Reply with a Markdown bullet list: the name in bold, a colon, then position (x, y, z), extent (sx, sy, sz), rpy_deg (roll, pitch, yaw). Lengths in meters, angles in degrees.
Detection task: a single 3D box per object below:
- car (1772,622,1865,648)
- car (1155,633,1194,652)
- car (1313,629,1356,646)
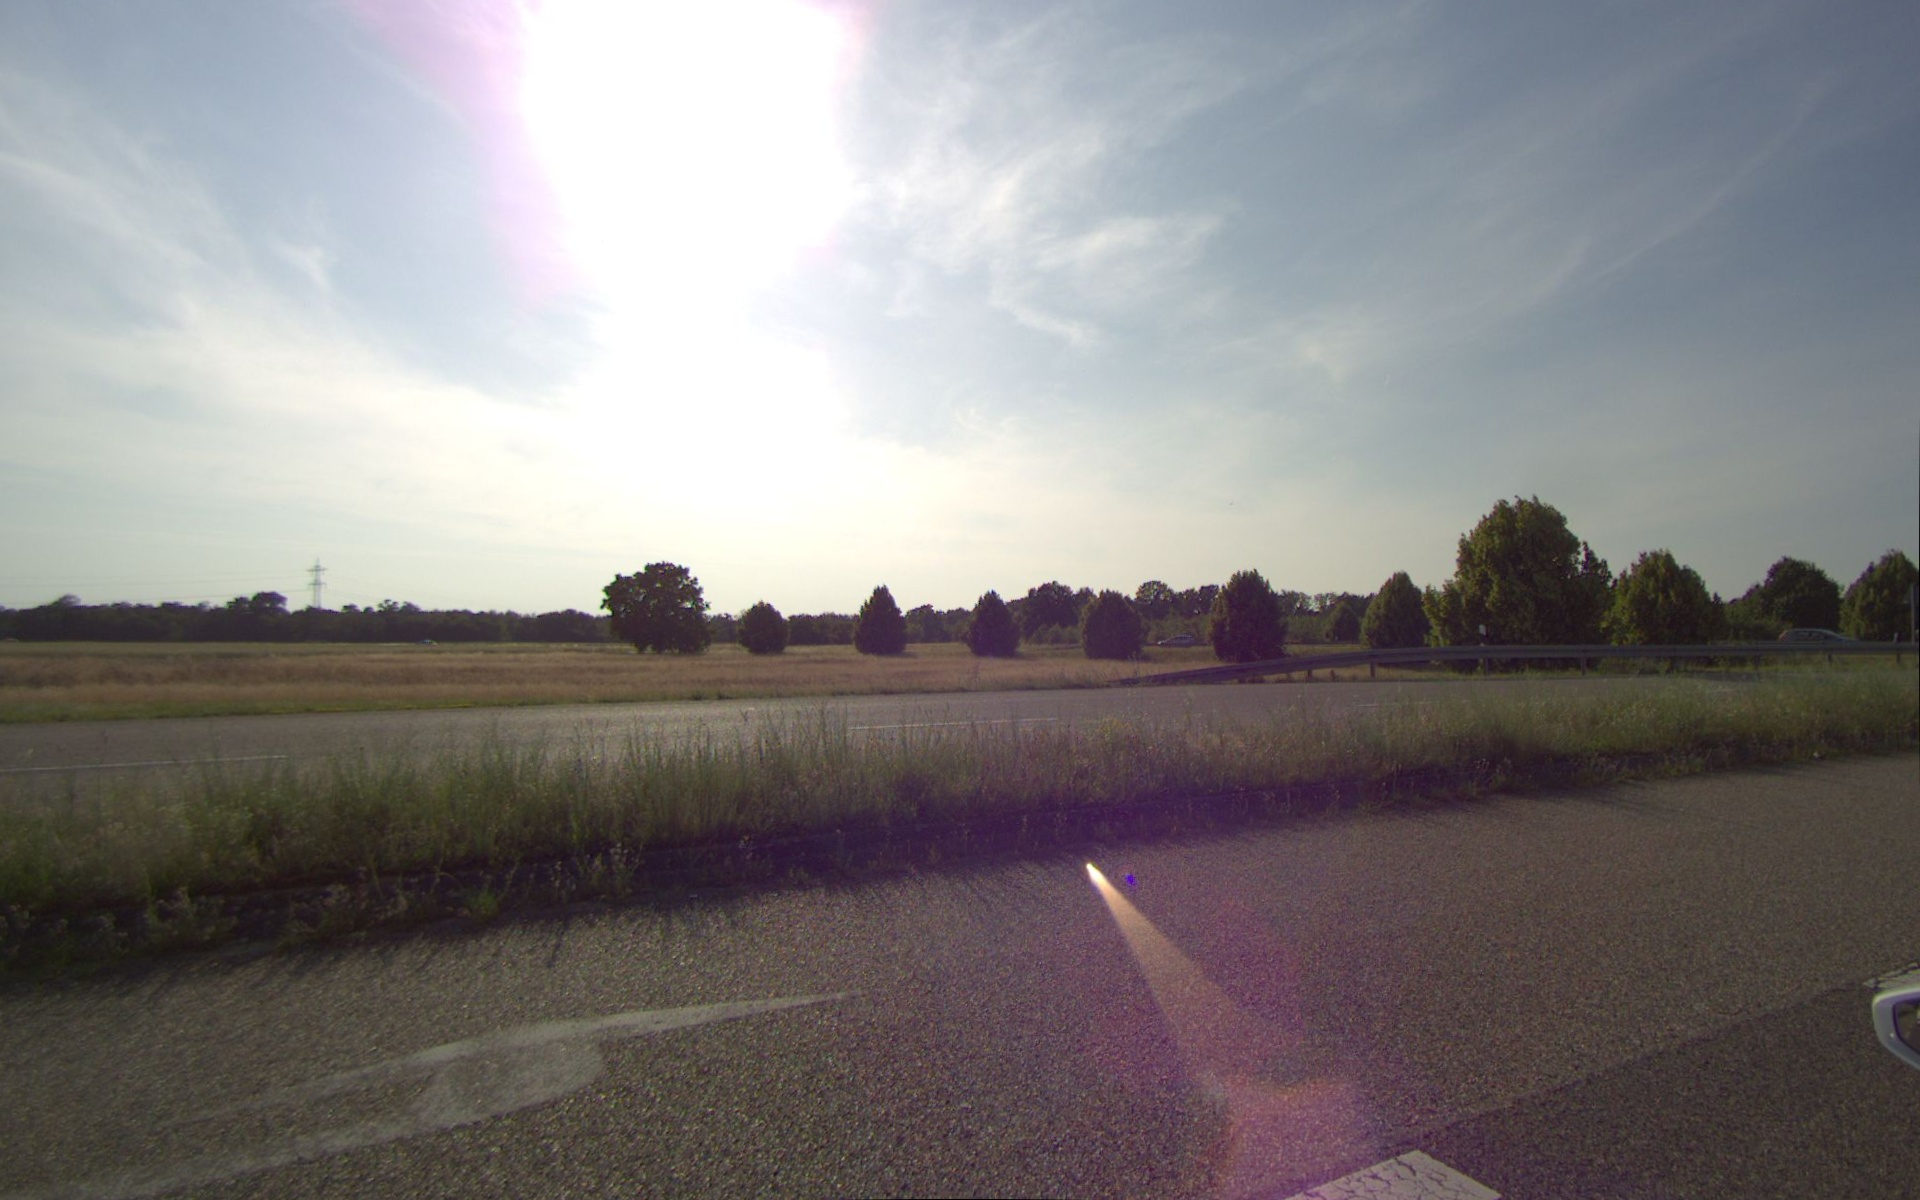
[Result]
- **car**: position (58.033, 2.324, 67.988), extent (1.789, 1.586, 4.507), rpy_deg (1, 0, -22)
- **car**: position (25.239, 5.030, 118.372), extent (3.937, 2.040, 1.992), rpy_deg (2, 0, 38)
- **car**: position (41.115, 4.065, 110.240), extent (1.986, 1.689, 3.949), rpy_deg (2, -1, -43)
